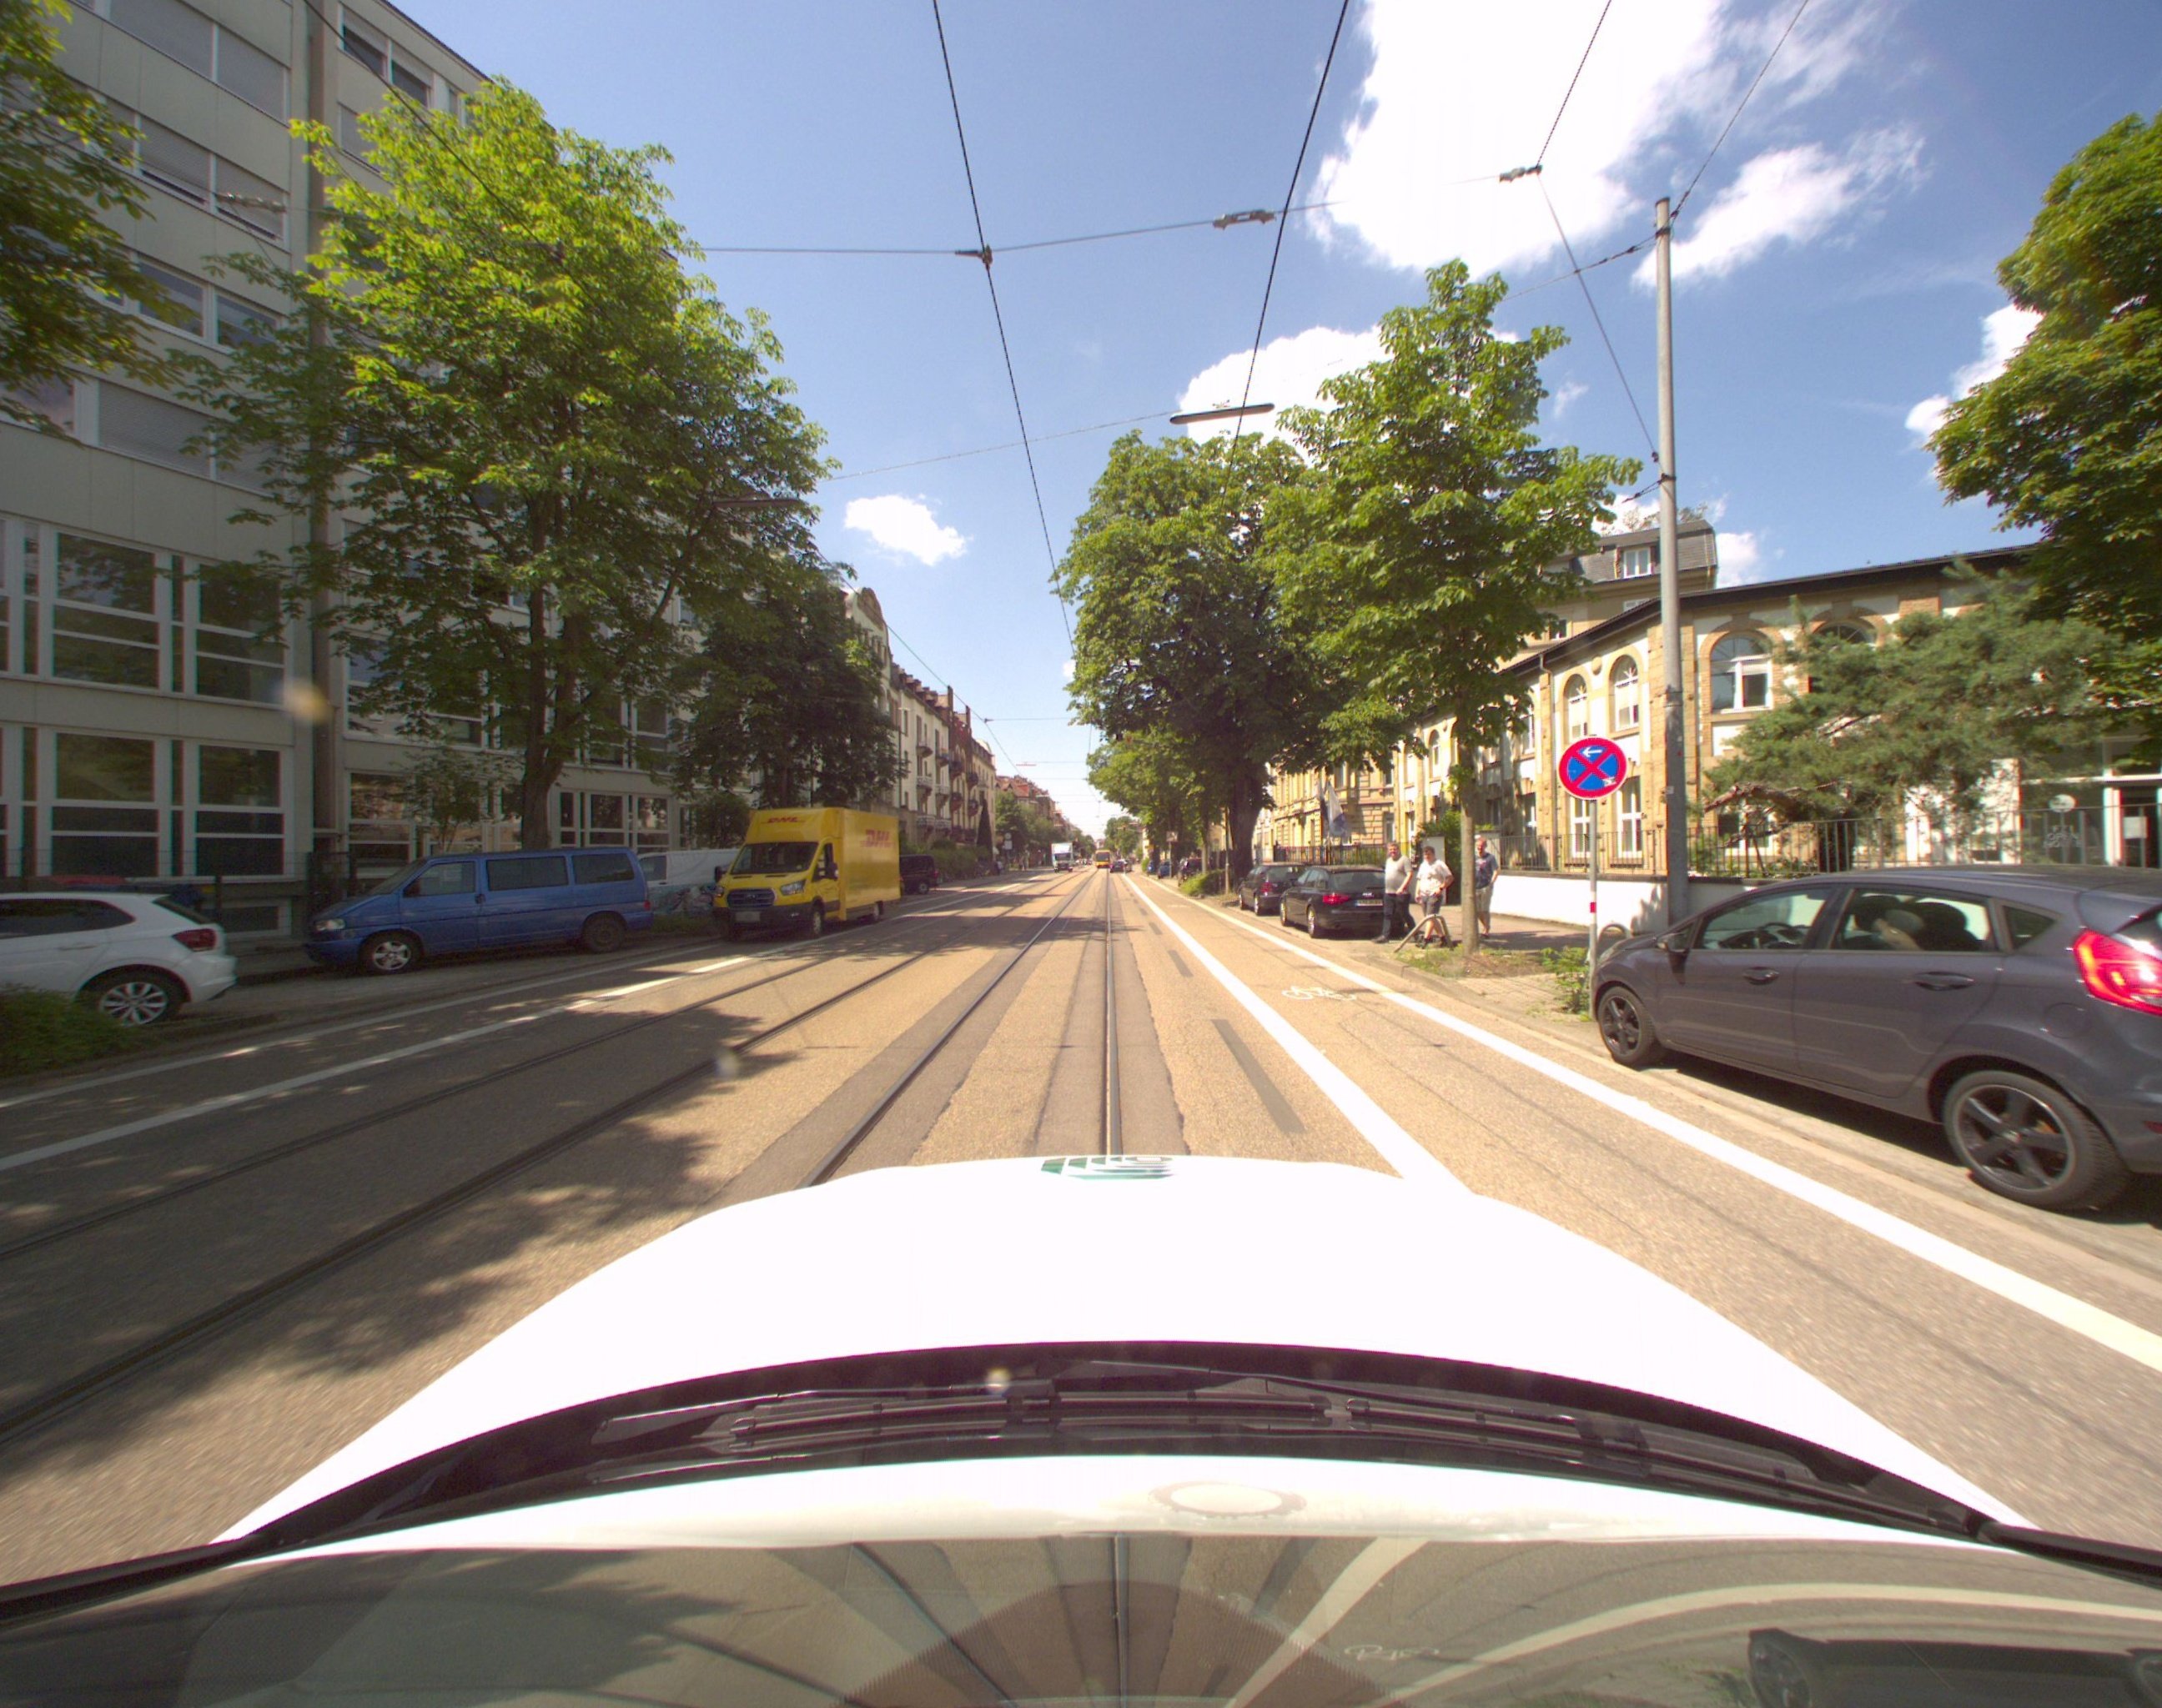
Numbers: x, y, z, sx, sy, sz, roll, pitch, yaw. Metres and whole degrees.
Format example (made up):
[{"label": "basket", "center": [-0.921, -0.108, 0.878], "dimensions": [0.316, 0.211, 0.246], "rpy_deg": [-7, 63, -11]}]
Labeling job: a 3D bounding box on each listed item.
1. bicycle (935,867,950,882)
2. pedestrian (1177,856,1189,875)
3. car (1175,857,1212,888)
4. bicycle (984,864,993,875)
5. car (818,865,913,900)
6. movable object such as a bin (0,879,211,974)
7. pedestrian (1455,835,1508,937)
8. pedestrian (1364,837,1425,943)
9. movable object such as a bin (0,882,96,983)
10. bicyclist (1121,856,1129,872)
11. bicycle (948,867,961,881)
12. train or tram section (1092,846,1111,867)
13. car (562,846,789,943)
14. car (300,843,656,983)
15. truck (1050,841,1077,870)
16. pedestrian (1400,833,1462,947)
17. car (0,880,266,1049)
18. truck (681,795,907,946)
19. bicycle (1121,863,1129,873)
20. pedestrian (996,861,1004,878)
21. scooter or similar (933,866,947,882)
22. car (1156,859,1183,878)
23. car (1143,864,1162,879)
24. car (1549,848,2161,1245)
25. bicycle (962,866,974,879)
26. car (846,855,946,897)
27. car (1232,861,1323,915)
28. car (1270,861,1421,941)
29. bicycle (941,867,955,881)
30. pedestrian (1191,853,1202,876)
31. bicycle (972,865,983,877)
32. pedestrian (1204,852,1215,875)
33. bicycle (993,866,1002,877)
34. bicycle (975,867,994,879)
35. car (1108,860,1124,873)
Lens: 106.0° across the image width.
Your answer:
[{"label": "bicycle", "center": [-9.072, 1.322, 53.328], "dimensions": [0.541, 0.969, 1.823], "rpy_deg": [1, -2, 2]}, {"label": "pedestrian", "center": [8.437, 0.967, 67.394], "dimensions": [0.802, 1.530, 0.626], "rpy_deg": [-1, -2, 19]}, {"label": "car", "center": [6.288, 1.007, 45.902], "dimensions": [1.586, 1.617, 3.908], "rpy_deg": [-1, -1, 1]}, {"label": "bicycle", "center": [-8.474, 1.386, 74.772], "dimensions": [0.541, 0.969, 1.782], "rpy_deg": [1, 0, 2]}, {"label": "car", "center": [-9.785, 1.266, 37.041], "dimensions": [3.830, 1.456, 1.615], "rpy_deg": [0, -2, -39]}, {"label": "movable object such as a bin", "center": [-16.055, 1.159, 13.471], "dimensions": [1.755, 1.410, 1.424], "rpy_deg": [-2, -1, 1]}, {"label": "pedestrian", "center": [7.030, 0.557, 14.312], "dimensions": [0.480, 1.737, 0.614], "rpy_deg": [-1, -1, -34]}, {"label": "pedestrian", "center": [5.683, 0.643, 14.794], "dimensions": [0.579, 1.860, 0.802], "rpy_deg": [-1, -1, -34]}, {"label": "movable object such as a bin", "center": [-16.250, 1.158, 11.982], "dimensions": [1.755, 1.410, 1.424], "rpy_deg": [-2, -1, 1]}, {"label": "bicyclist", "center": [4.500, 1.013, 83.182], "dimensions": [0.618, 1.616, 0.867], "rpy_deg": [0, -2, 10]}, {"label": "bicycle", "center": [-8.910, 1.411, 57.338], "dimensions": [0.541, 0.969, 1.990], "rpy_deg": [1, -2, 2]}, {"label": "train or tram section", "center": [3.593, 0.439, 140.626], "dimensions": [3.023, 3.438, 11.977], "rpy_deg": [-1, 0, 2]}, {"label": "car", "center": [-10.097, 0.917, 20.472], "dimensions": [4.785, 2.062, 2.003], "rpy_deg": [-2, 0, -38]}, {"label": "car", "center": [-10.290, 0.866, 14.191], "dimensions": [4.759, 1.955, 1.824], "rpy_deg": [-2, 0, -44]}, {"label": "truck", "center": [-2.186, 0.172, 103.378], "dimensions": [2.928, 3.550, 8.456], "rpy_deg": [-1, 0, 2]}, {"label": "pedestrian", "center": [5.895, 0.590, 13.740], "dimensions": [0.579, 1.860, 0.718], "rpy_deg": [-1, -1, -34]}, {"label": "car", "center": [-10.643, 1.106, 7.734], "dimensions": [1.740, 1.433, 4.024], "rpy_deg": [-4, -1, 43]}, {"label": "truck", "center": [-6.345, 0.321, 19.414], "dimensions": [2.351, 2.852, 7.383], "rpy_deg": [-2, 0, 3]}, {"label": "bicycle", "center": [4.488, 1.464, 83.051], "dimensions": [0.635, 0.969, 1.786], "rpy_deg": [0, -2, 11]}, {"label": "pedestrian", "center": [-7.631, 1.473, 76.919], "dimensions": [0.570, 1.616, 0.817], "rpy_deg": [-1, -1, 2]}, {"label": "scooter or similar", "center": [-8.951, 1.274, 51.639], "dimensions": [0.541, 0.969, 1.500], "rpy_deg": [1, 0, 2]}, {"label": "car", "center": [7.032, 1.119, 65.105], "dimensions": [1.704, 1.423, 4.310], "rpy_deg": [-1, -1, 1]}, {"label": "car", "center": [7.297, 1.808, 83.394], "dimensions": [1.704, 1.423, 4.310], "rpy_deg": [-1, -1, 1]}, {"label": "car", "center": [4.840, 0.744, 4.982], "dimensions": [1.634, 1.485, 3.870], "rpy_deg": [-1, -1, -2]}, {"label": "bicycle", "center": [-8.692, 1.426, 62.576], "dimensions": [0.541, 0.969, 1.991], "rpy_deg": [1, 0, 2]}, {"label": "car", "center": [-9.102, 1.036, 40.221], "dimensions": [4.507, 1.941, 1.685], "rpy_deg": [0, -2, -37]}, {"label": "car", "center": [5.633, 0.937, 23.871], "dimensions": [1.704, 1.423, 4.244], "rpy_deg": [-1, -1, 1]}, {"label": "car", "center": [5.468, 0.903, 17.483], "dimensions": [1.869, 1.455, 4.530], "rpy_deg": [-1, -1, 2]}, {"label": "bicycle", "center": [-8.996, 1.361, 55.314], "dimensions": [0.541, 0.969, 1.991], "rpy_deg": [1, -1, 2]}, {"label": "pedestrian", "center": [9.394, 0.823, 66.366], "dimensions": [0.806, 1.860, 0.576], "rpy_deg": [-1, -2, -1]}, {"label": "bicycle", "center": [-8.665, 1.446, 68.208], "dimensions": [0.541, 0.969, 1.782], "rpy_deg": [1, 0, 2]}, {"label": "pedestrian", "center": [10.496, 0.783, 66.436], "dimensions": [0.806, 1.860, 0.623], "rpy_deg": [-1, -2, -1]}, {"label": "bicycle", "center": [-8.103, 1.691, 79.094], "dimensions": [0.541, 0.969, 1.782], "rpy_deg": [1, 1, 2]}, {"label": "bicycle", "center": [-7.709, 1.505, 65.050], "dimensions": [0.538, 0.969, 1.792], "rpy_deg": [-1, -2, 31]}, {"label": "car", "center": [3.871, 1.371, 91.194], "dimensions": [1.774, 1.346, 3.417], "rpy_deg": [-1, 0, 2]}]
